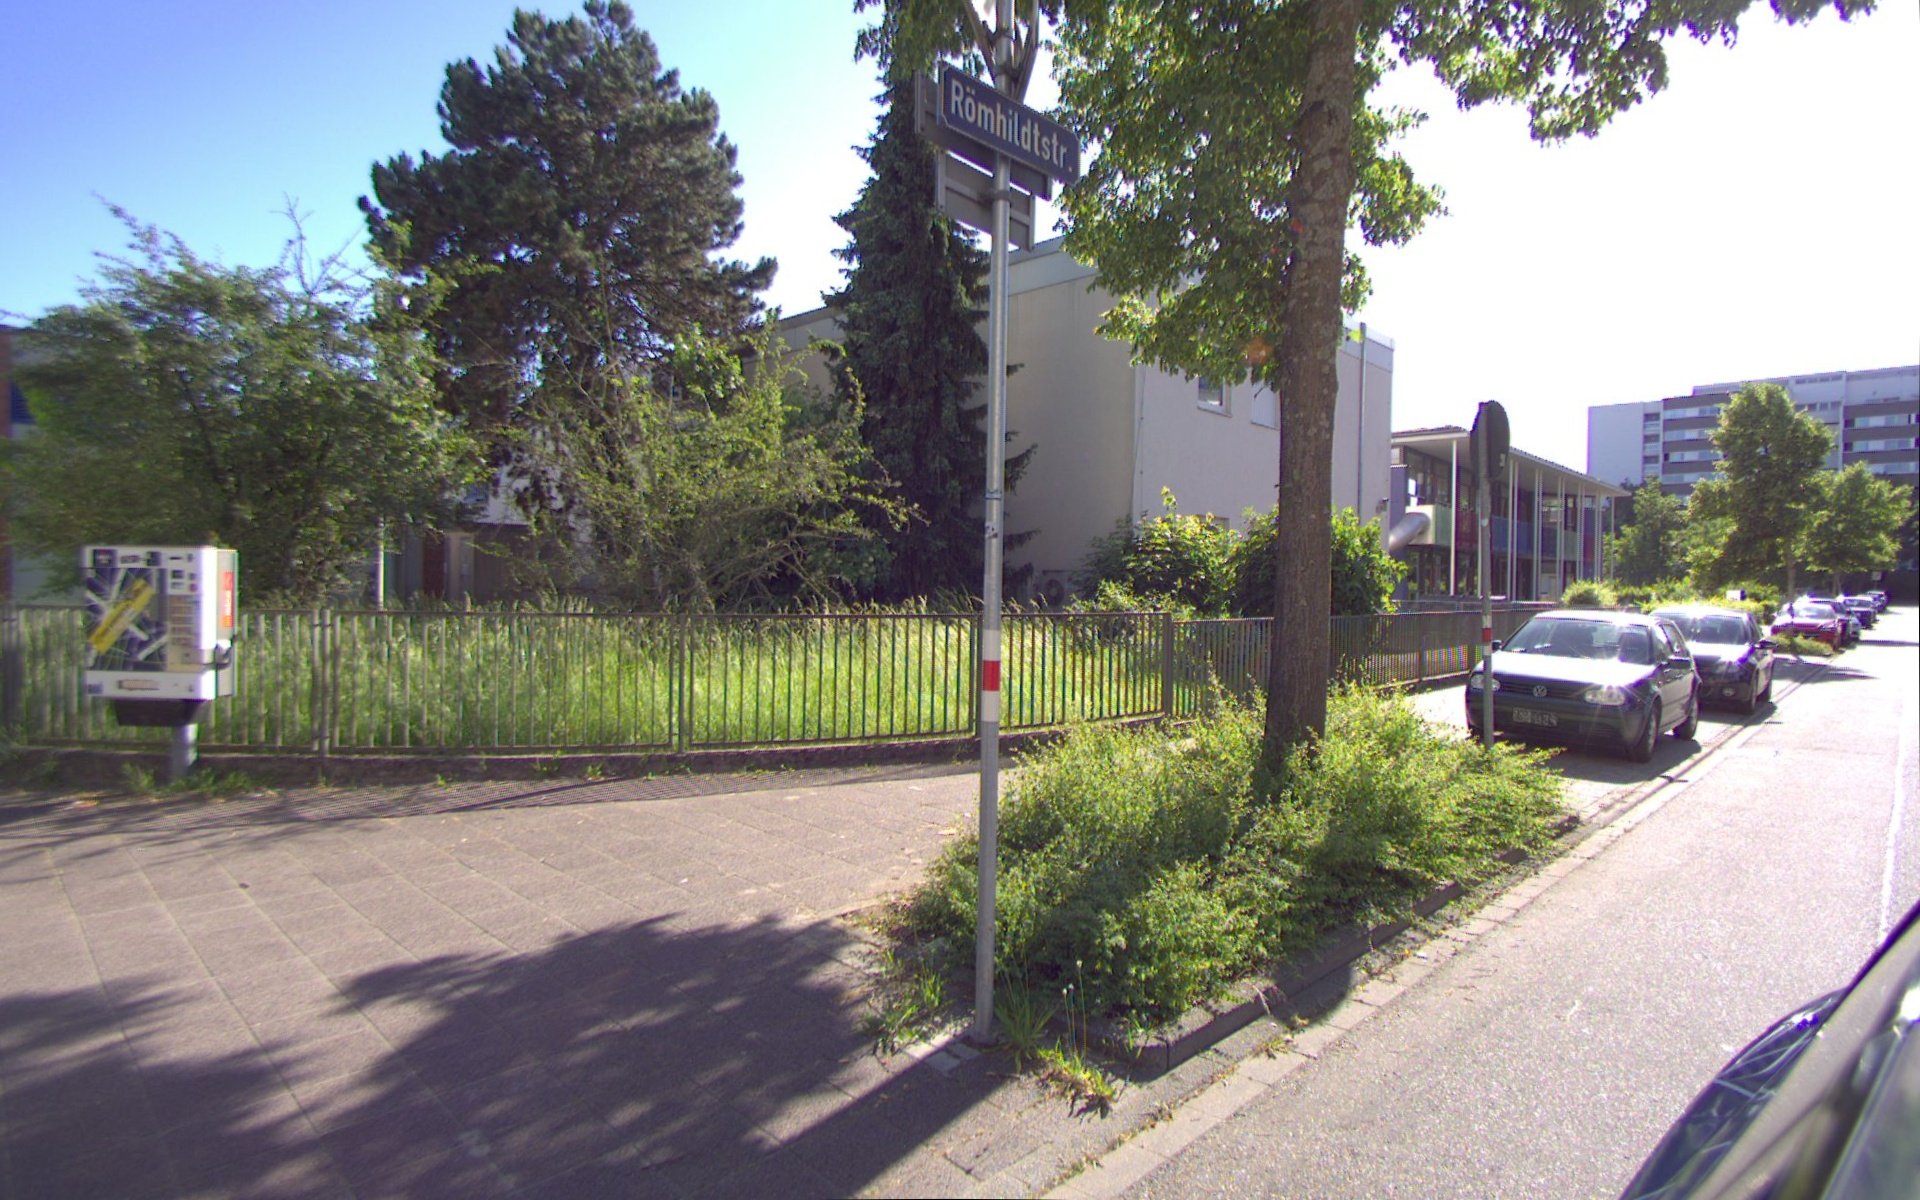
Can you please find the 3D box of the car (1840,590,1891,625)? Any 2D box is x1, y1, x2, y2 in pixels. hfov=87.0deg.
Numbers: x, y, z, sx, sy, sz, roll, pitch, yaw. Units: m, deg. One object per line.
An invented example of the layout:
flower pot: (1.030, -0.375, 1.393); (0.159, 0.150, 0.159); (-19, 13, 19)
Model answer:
car: (49.085, 0.354, 54.841); (1.819, 1.667, 4.418); (6, 5, 43)

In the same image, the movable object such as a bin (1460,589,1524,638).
movable object such as a bin: (16.692, 0.386, 31.764); (1.605, 1.466, 1.367); (0, 1, -45)

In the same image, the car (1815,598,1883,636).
car: (36.712, 0.658, 41.892); (1.961, 1.336, 4.706); (4, 4, 40)

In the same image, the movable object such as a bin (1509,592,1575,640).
movable object such as a bin: (17.665, 0.467, 30.716); (1.605, 1.374, 1.367); (0, 1, -45)

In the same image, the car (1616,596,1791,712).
car: (11.689, 0.726, 15.813); (1.783, 1.535, 3.938); (2, 1, 42)

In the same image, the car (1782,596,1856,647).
car: (28.080, 0.653, 33.037); (1.675, 1.523, 3.787); (1, 1, 43)

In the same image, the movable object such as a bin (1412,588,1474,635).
movable object such as a bin: (15.651, 0.348, 32.775); (1.605, 1.466, 1.331); (0, 1, -45)

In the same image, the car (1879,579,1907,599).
car: (80.782, -0.947, 87.605); (1.641, 1.484, 3.646); (6, 6, 43)

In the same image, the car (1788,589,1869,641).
car: (31.772, 0.493, 36.962); (1.901, 1.703, 4.340); (4, 3, 45)

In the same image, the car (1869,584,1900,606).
car: (72.215, -0.380, 79.067); (1.641, 1.484, 3.646); (6, 6, 43)

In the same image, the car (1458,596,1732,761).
car: (7.321, 0.717, 11.471); (1.747, 1.439, 4.353); (1, 1, 45)
